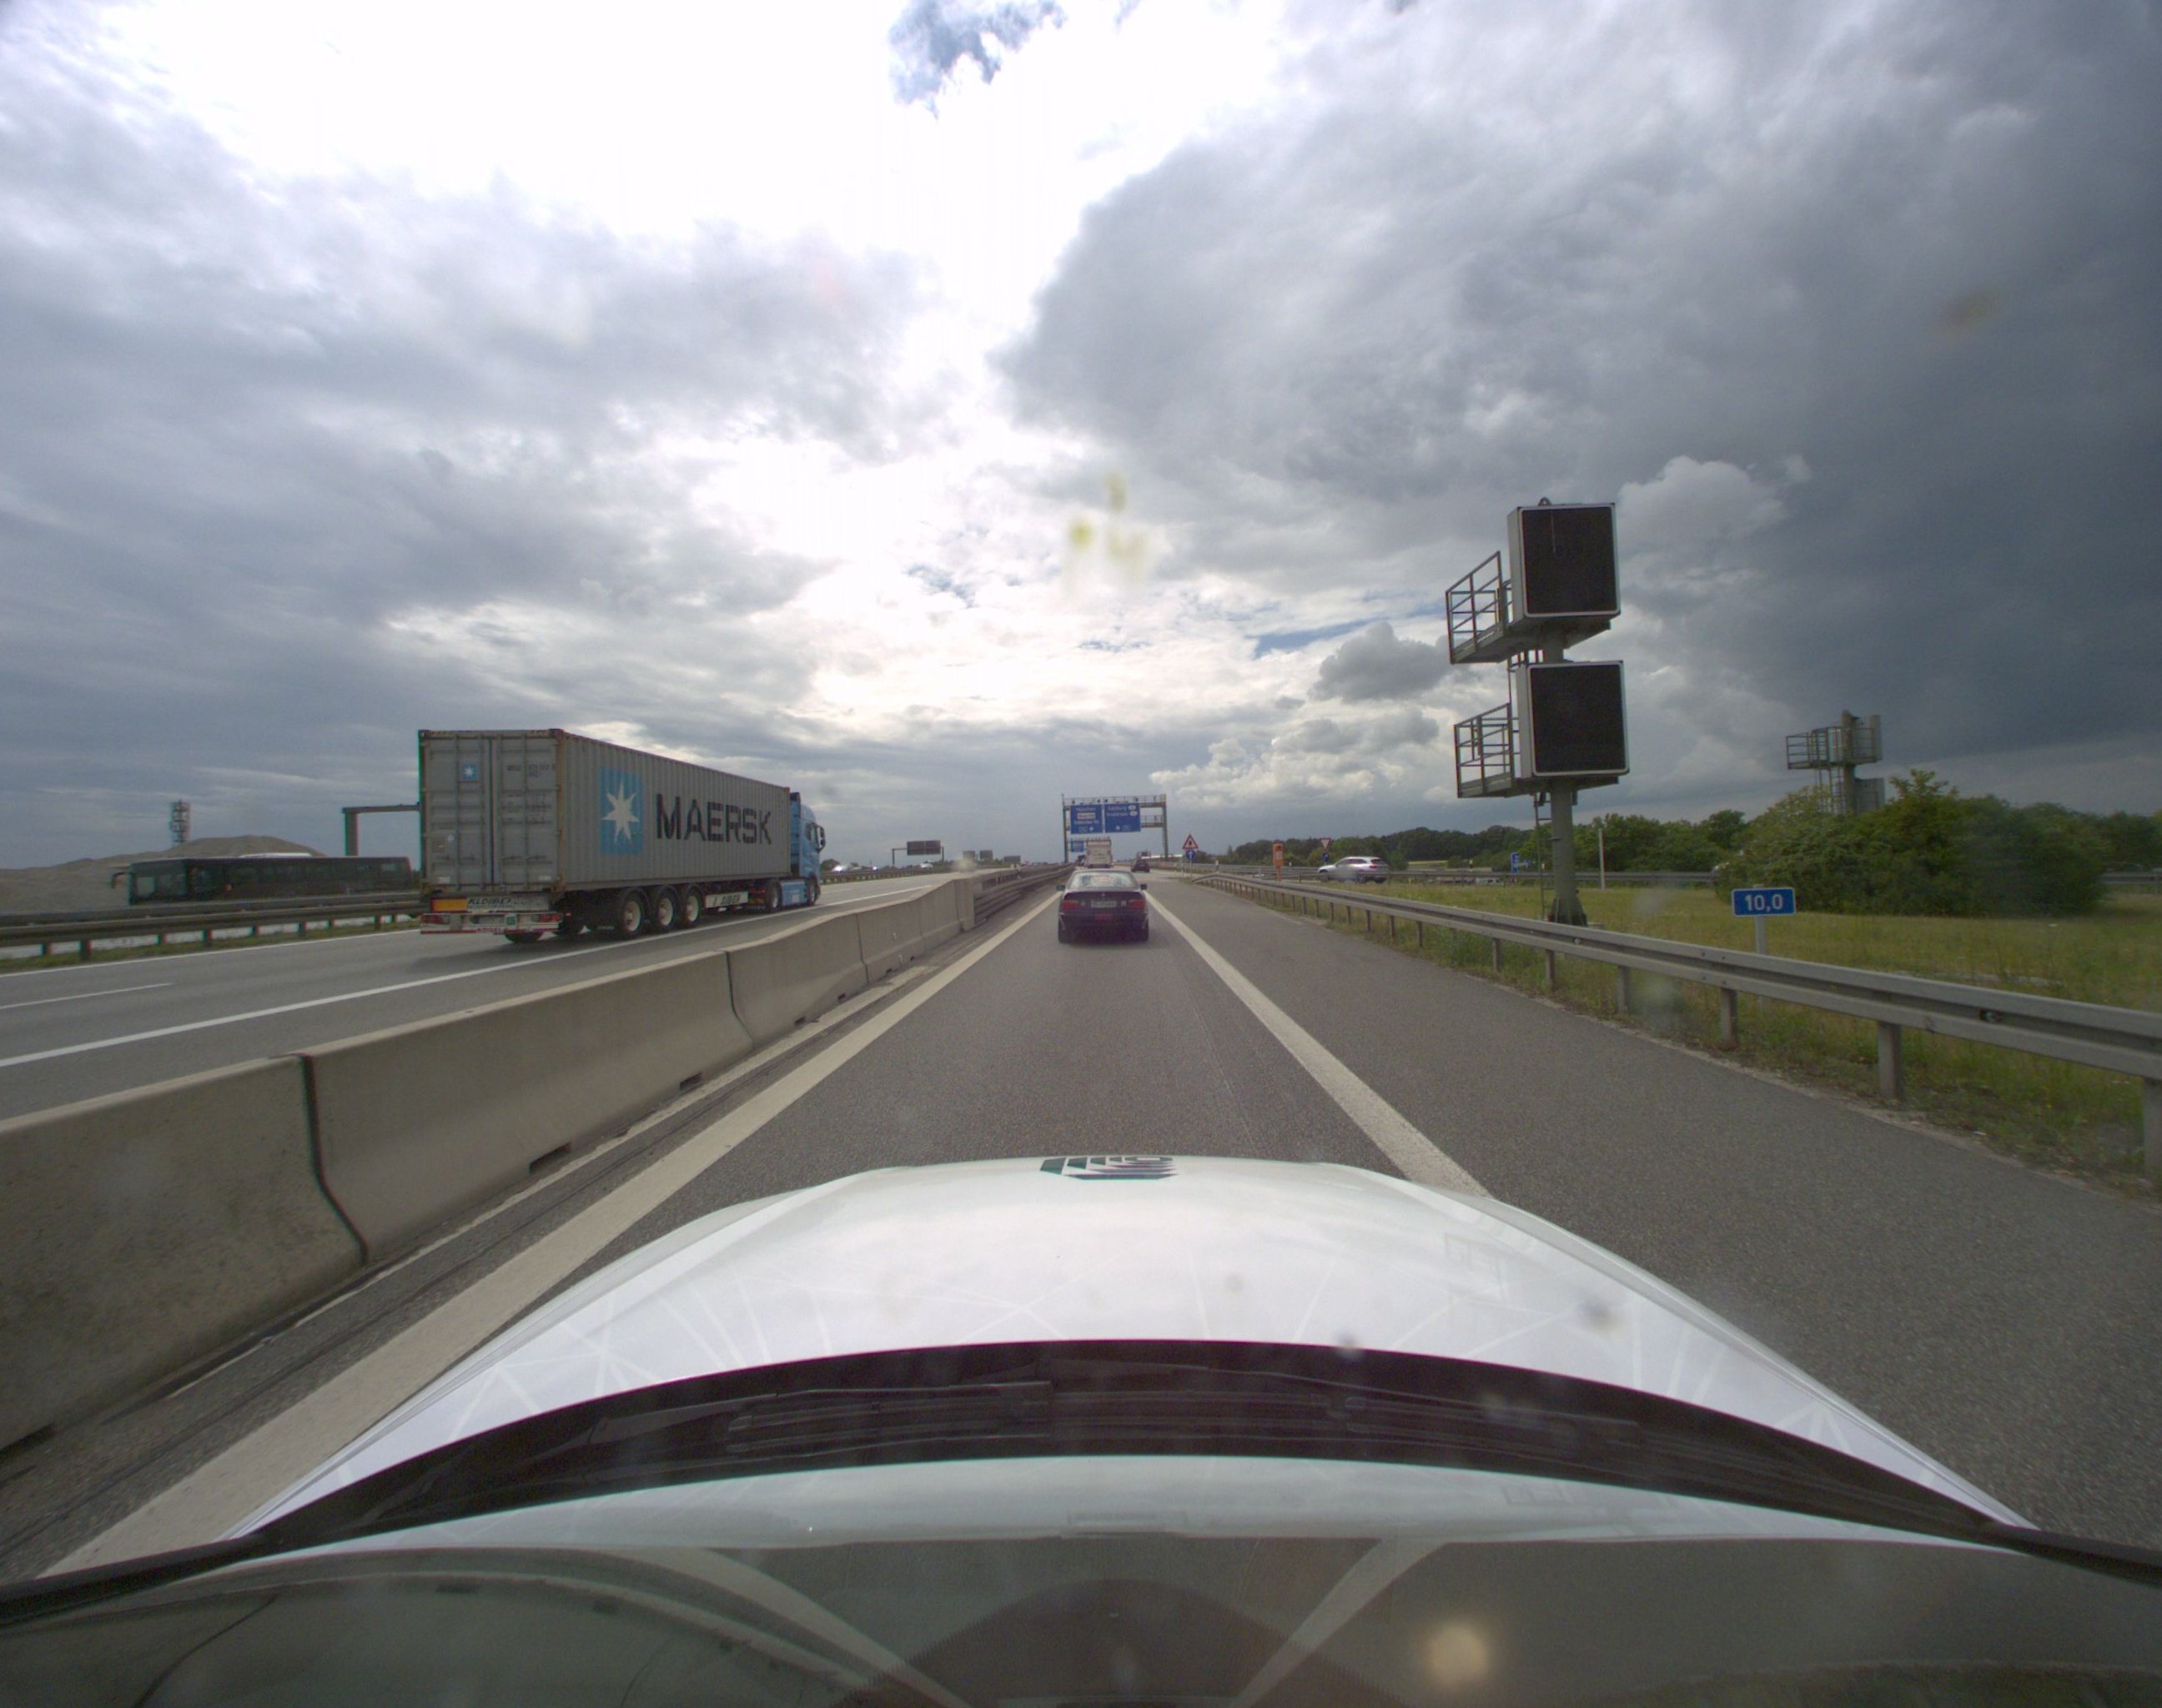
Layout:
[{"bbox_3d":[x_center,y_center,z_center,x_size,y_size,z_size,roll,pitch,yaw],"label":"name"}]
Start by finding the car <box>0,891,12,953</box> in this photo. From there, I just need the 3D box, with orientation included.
[{"bbox_3d":[-26.713,1.633,17.748,1.518,1.464,4.000,-1,0,1],"label":"car"}]

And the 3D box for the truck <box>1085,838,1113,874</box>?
[{"bbox_3d":[1.618,0.191,74.858,2.396,3.090,6.370,-1,0,0],"label":"truck"}]

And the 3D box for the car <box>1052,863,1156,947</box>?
[{"bbox_3d":[0.485,0.903,16.109,1.775,1.378,4.139,-1,0,2],"label":"car"}]

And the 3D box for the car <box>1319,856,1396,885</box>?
[{"bbox_3d":[17.019,1.036,50.267,1.951,1.685,4.161,1,-2,-37],"label":"car"}]

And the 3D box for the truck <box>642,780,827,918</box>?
[{"bbox_3d":[-10.988,-0.133,26.699,3.237,3.911,6.607,-1,0,-1],"label":"truck"}]

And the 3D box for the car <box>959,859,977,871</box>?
[{"bbox_3d":[-15.755,1.545,113.761,1.887,1.597,4.414,-1,0,-2],"label":"car"}]

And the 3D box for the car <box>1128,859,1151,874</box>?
[{"bbox_3d":[6.170,1.297,86.372,1.988,1.552,3.997,0,-1,-1],"label":"car"}]

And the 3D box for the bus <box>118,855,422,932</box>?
[{"bbox_3d":[-42.058,1.822,43.456,3.203,3.442,12.990,-1,0,0],"label":"bus"}]

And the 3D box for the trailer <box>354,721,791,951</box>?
[{"bbox_3d":[-10.894,-0.266,20.125,3.227,3.924,12.372,0,-1,-1],"label":"trailer"}]
